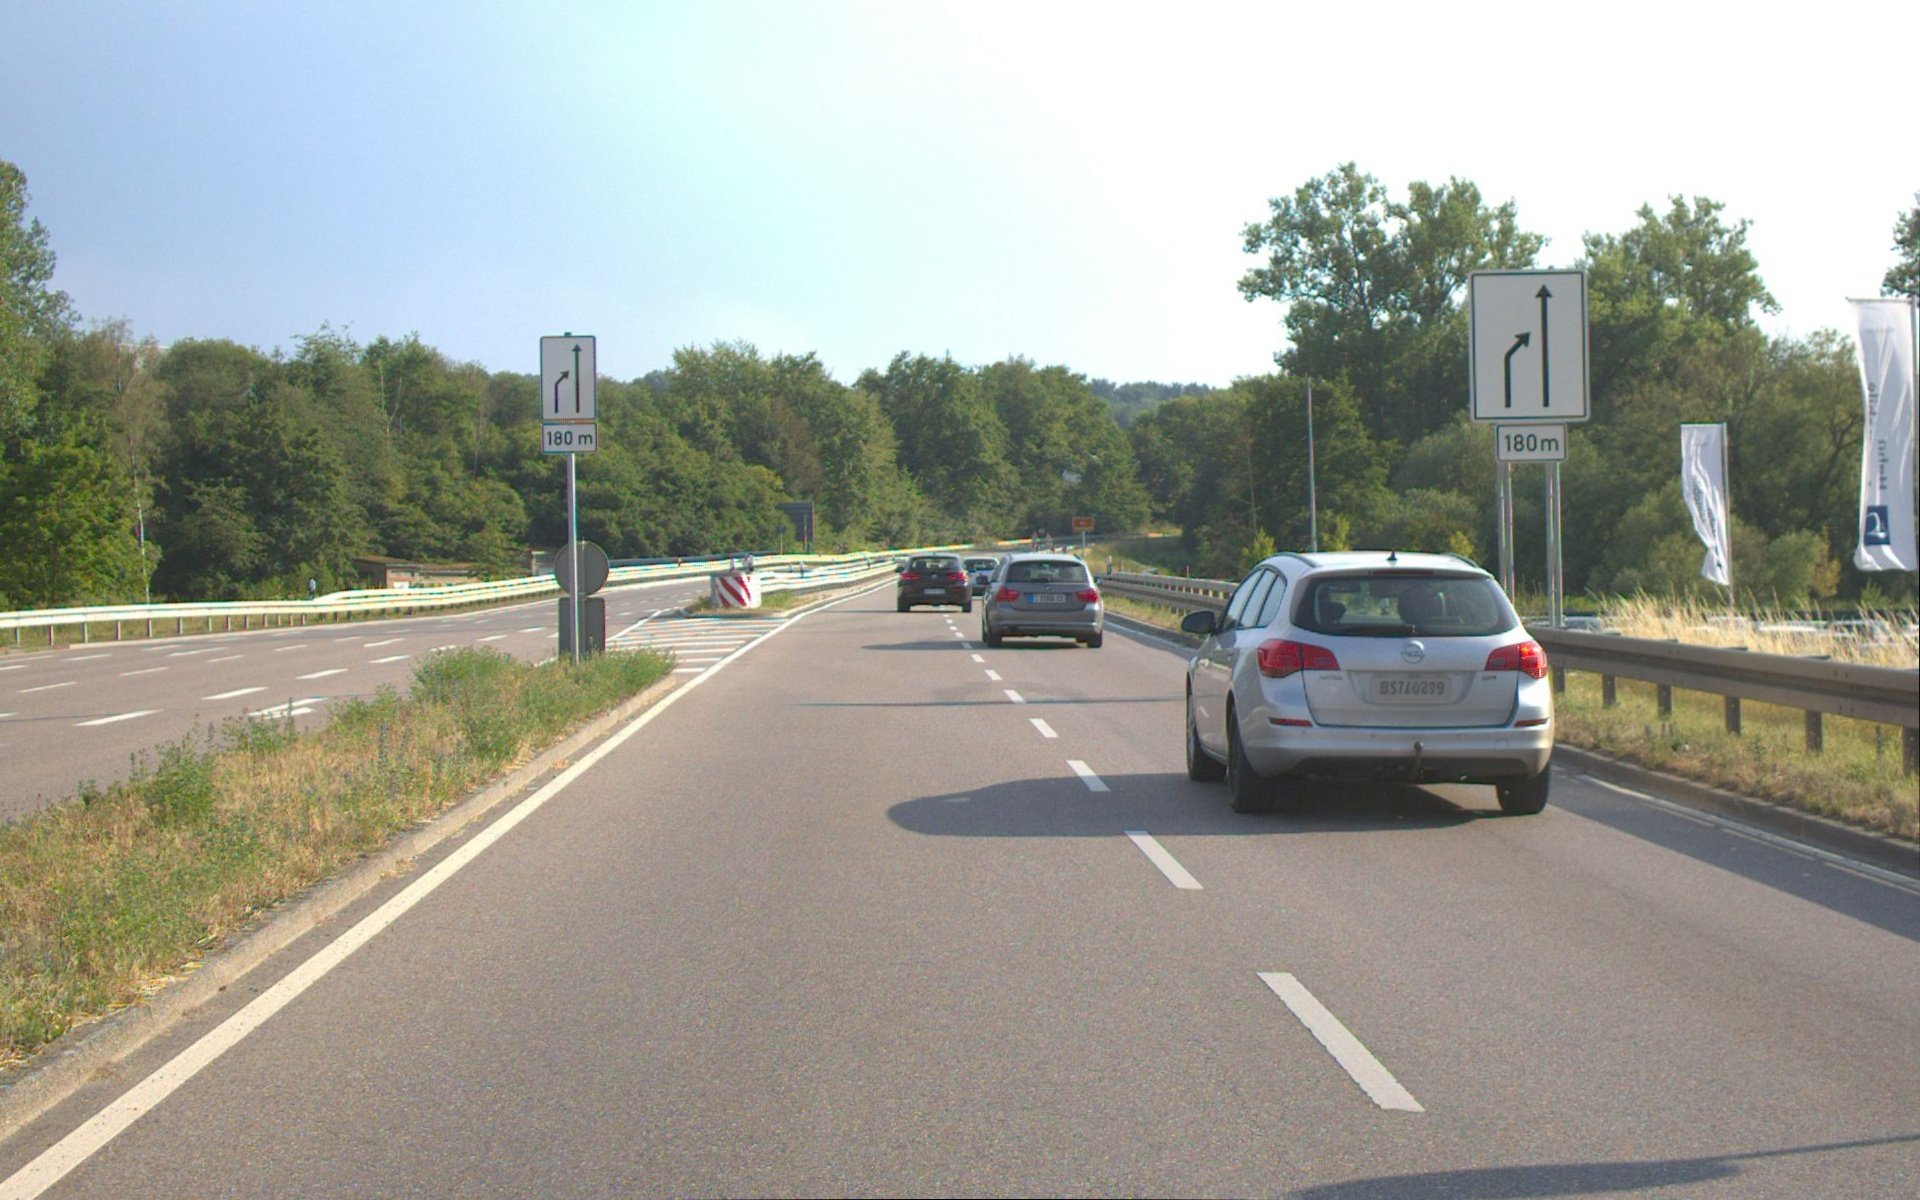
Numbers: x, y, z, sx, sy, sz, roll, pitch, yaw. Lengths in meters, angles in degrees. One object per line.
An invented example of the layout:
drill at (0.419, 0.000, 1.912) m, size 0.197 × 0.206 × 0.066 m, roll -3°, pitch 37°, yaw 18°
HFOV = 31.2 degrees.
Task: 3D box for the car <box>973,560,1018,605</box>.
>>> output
car at (1.211, -0.590, 116.901) m, size 1.492 × 1.471 × 3.358 m, roll 1°, pitch 0°, yaw 1°

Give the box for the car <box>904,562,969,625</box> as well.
car at (-0.544, -0.149, 82.528) m, size 1.492 × 1.471 × 3.358 m, roll 1°, pitch 0°, yaw 1°

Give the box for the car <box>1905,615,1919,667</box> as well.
car at (30.622, 1.281, 106.069) m, size 1.880 × 1.630 × 4.729 m, roll 1°, pitch 0°, yaw 4°

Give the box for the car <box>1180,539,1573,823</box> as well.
car at (2.343, 0.434, 20.292) m, size 1.809 × 1.481 × 4.000 m, roll 1°, pitch 0°, yaw 0°

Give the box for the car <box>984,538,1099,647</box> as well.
car at (1.223, -0.111, 52.859) m, size 1.667 × 1.568 × 4.000 m, roll 1°, pitch 0°, yaw 1°
